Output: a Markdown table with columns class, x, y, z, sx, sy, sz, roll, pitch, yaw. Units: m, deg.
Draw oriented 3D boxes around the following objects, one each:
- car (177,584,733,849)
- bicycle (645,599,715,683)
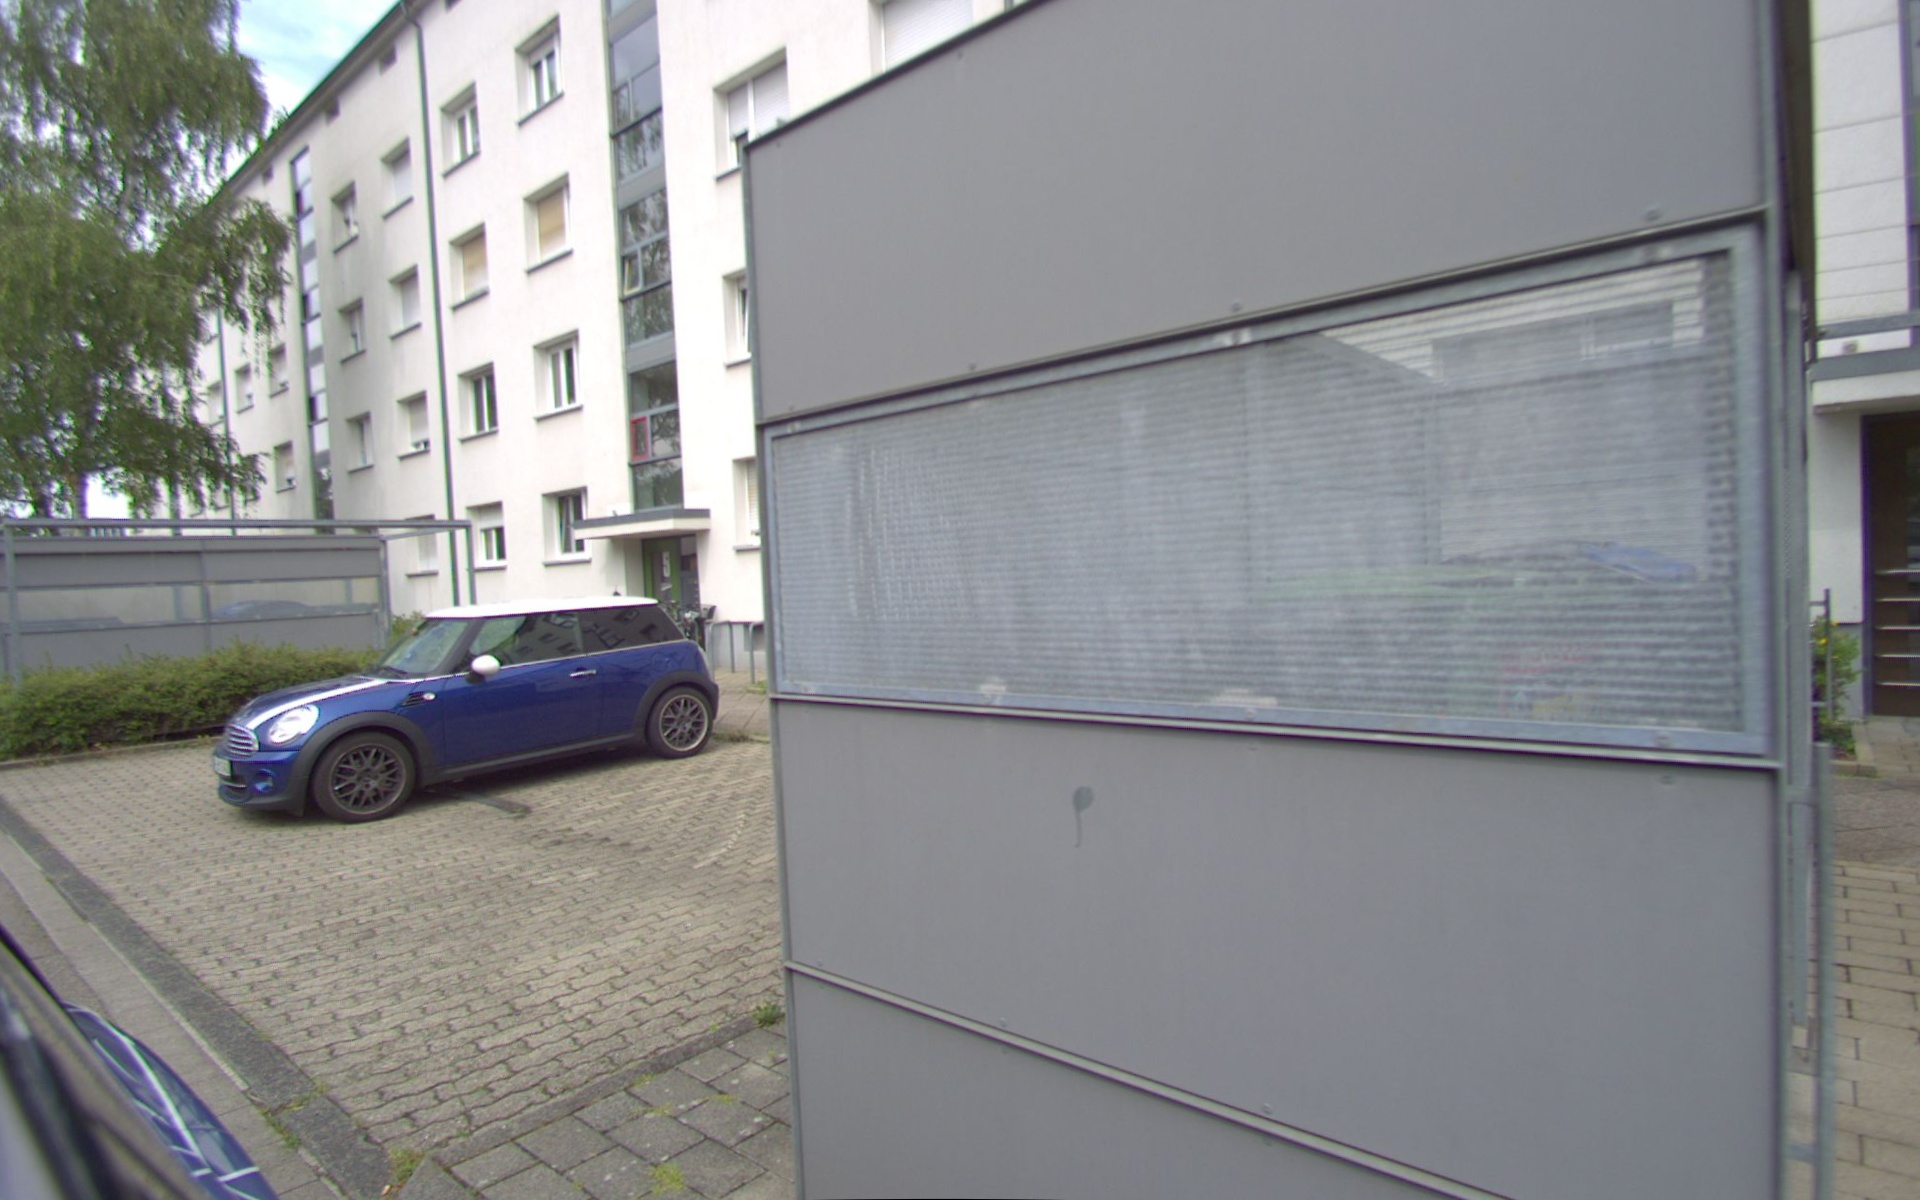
| class | x | y | z | sx | sy | sz | roll | pitch | yaw |
| --- | --- | --- | --- | --- | --- | --- | --- | --- | --- |
| car | -3.848 | 0.713 | 8.113 | 1.653 | 1.472 | 3.595 | -1 | 2 | 44 |
| bicycle | -4.171 | 0.577 | 15.178 | 0.475 | 1.160 | 1.538 | -2 | 1 | 5 |
